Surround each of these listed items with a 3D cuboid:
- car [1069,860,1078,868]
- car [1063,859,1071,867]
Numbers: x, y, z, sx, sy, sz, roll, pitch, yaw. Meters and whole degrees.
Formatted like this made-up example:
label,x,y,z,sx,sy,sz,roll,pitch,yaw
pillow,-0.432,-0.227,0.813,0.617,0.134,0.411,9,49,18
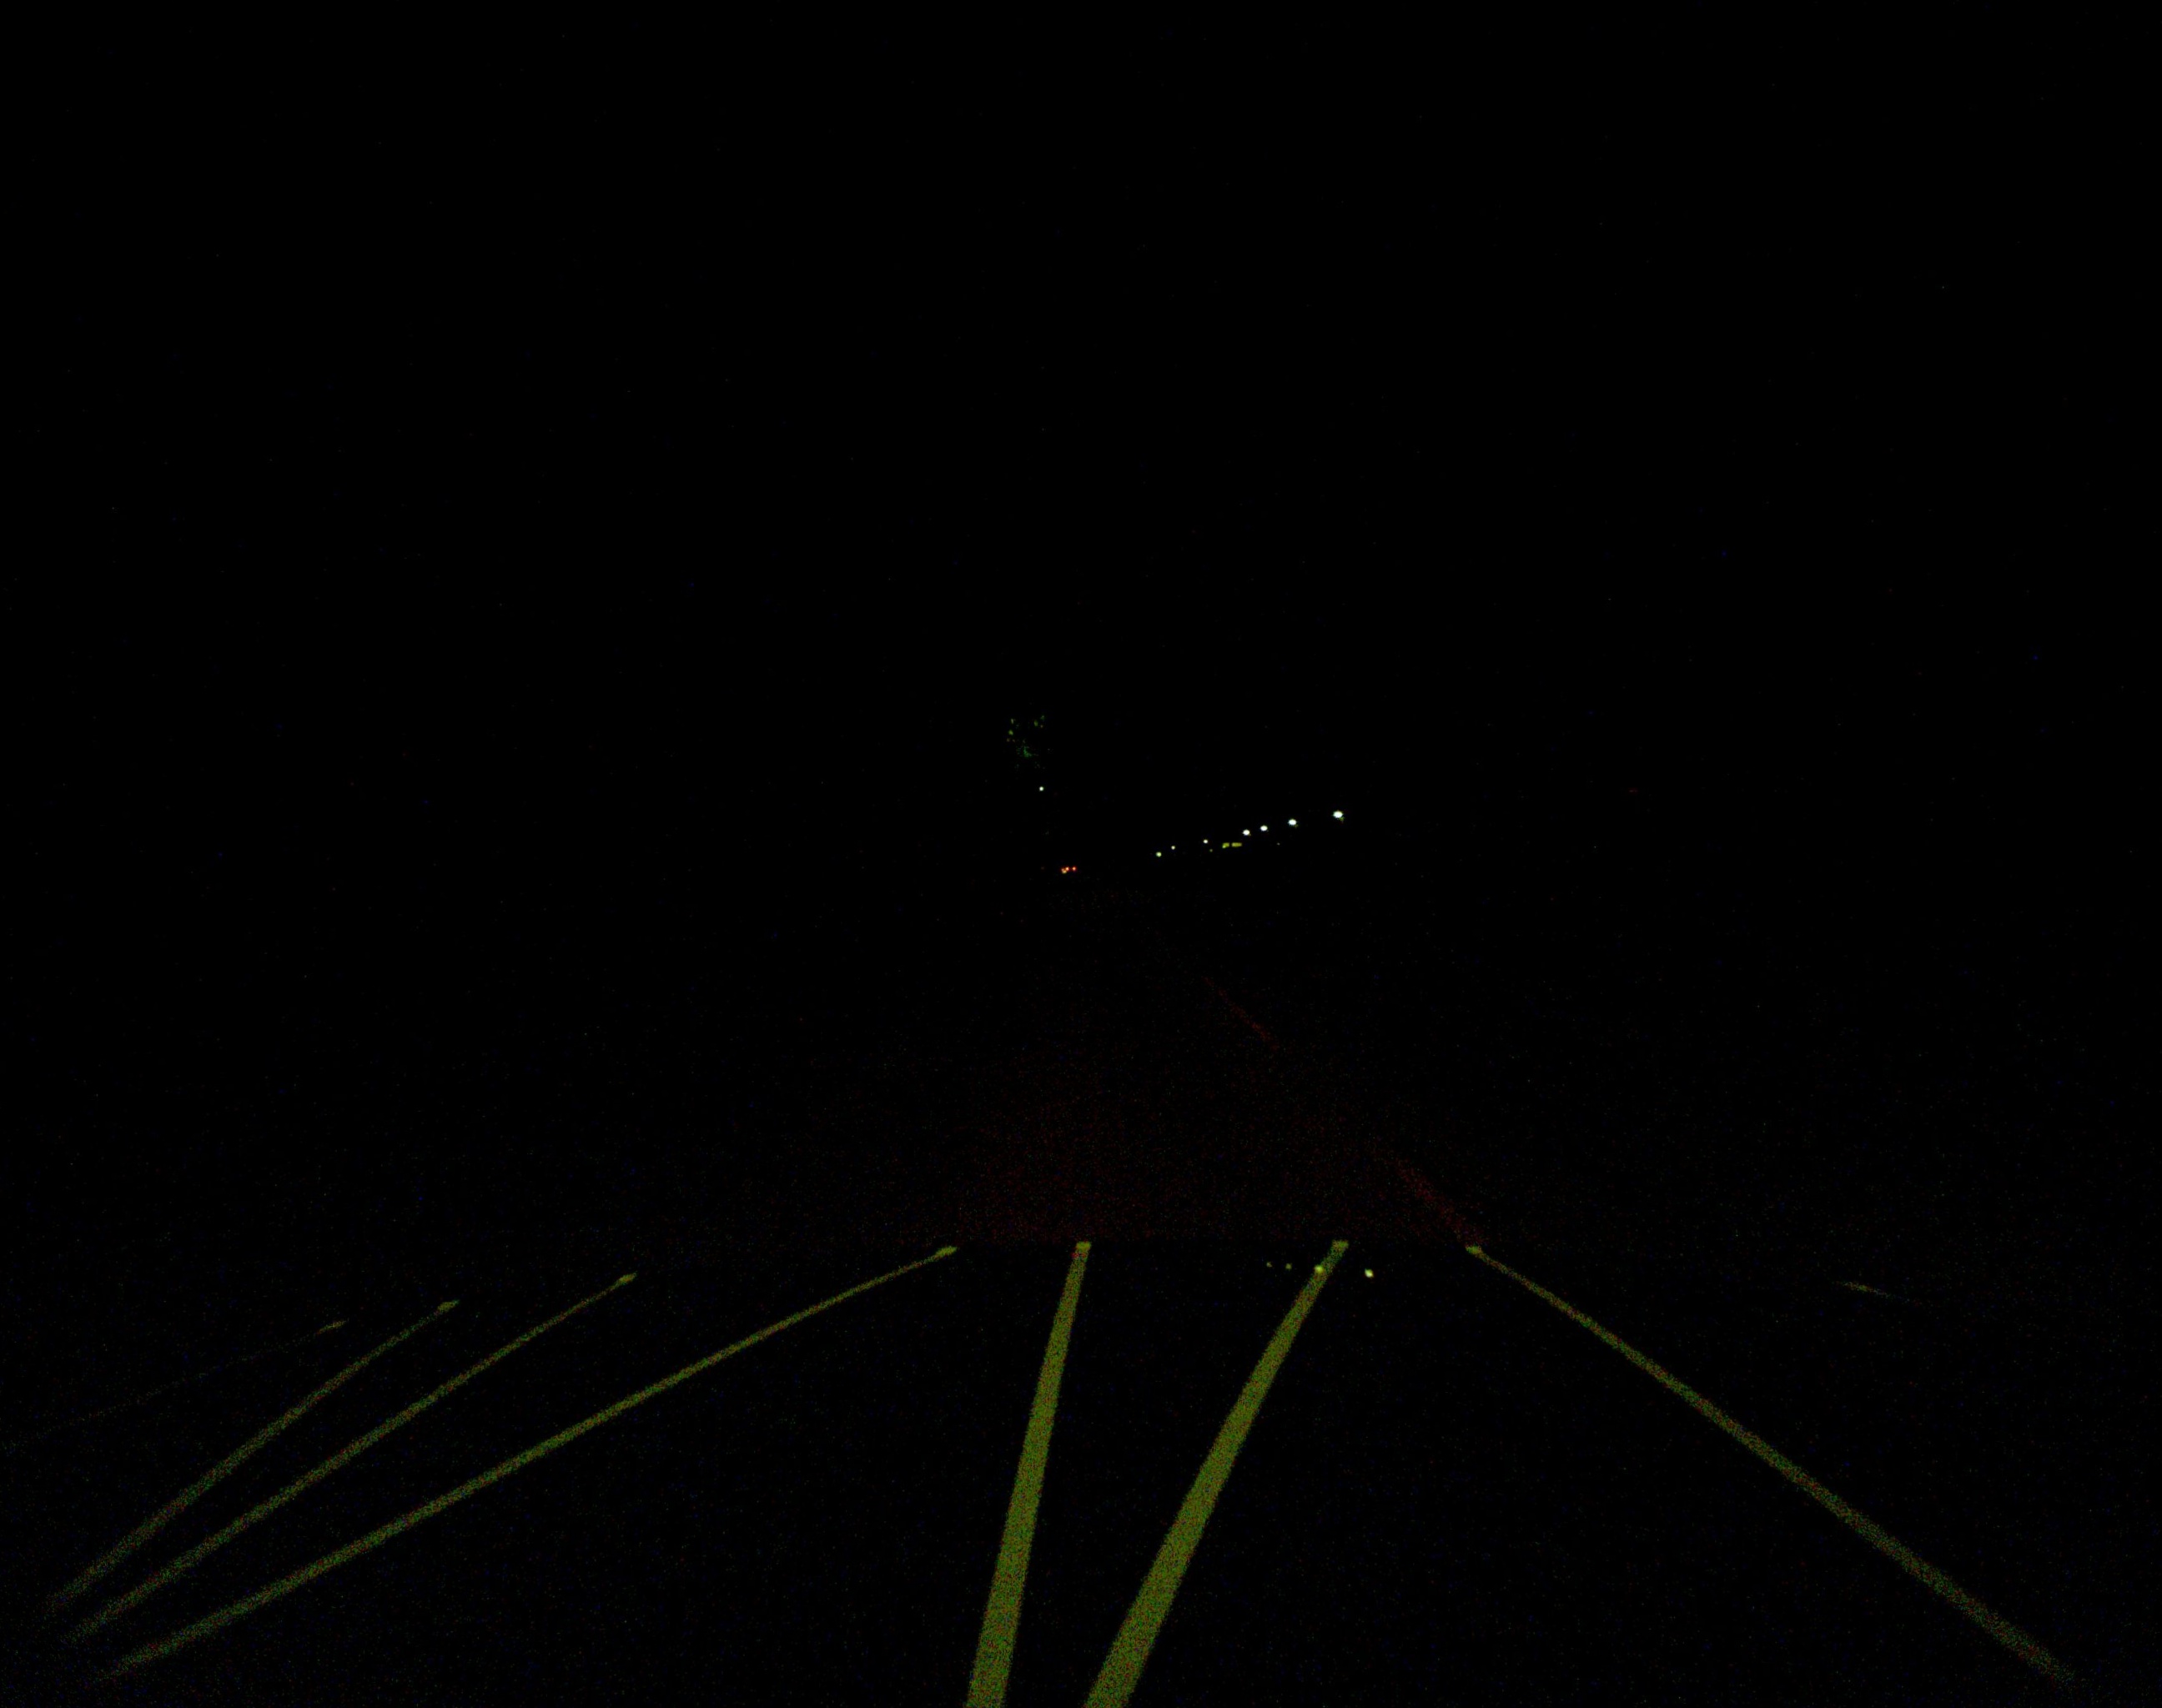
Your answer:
label,x,y,z,sx,sy,sz,roll,pitch,yaw
car,-1.434,1.842,142.657,1.651,1.482,3.557,-2,0,-2
car,-2.904,1.887,160.197,1.692,1.449,4.000,-2,0,0
